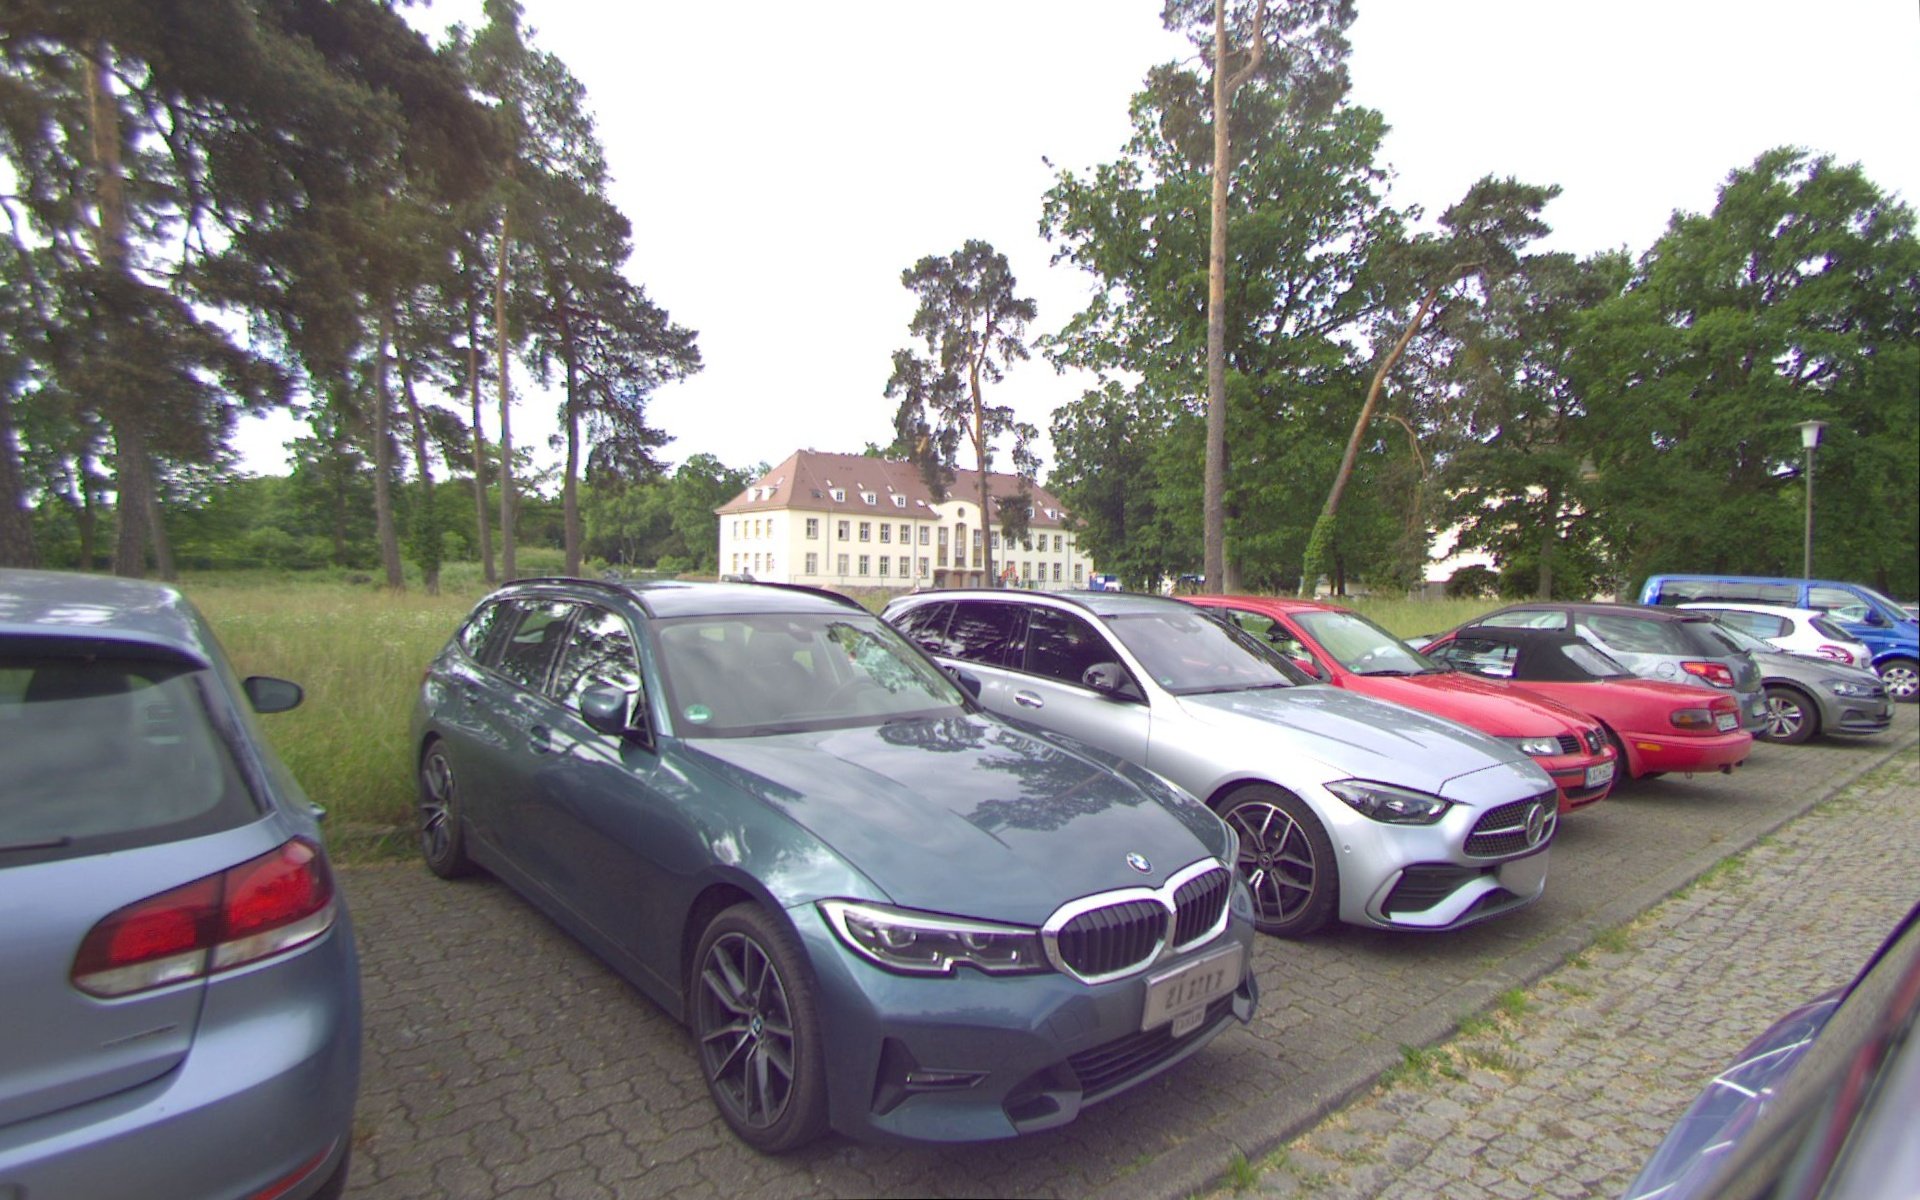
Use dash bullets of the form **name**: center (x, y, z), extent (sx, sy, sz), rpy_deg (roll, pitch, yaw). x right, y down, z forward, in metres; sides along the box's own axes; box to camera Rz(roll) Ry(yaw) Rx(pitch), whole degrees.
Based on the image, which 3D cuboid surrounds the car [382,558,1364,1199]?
- **car**: center (-0.936, 0.612, 4.453), extent (1.839, 1.434, 4.689), rpy_deg (0, 3, -42)

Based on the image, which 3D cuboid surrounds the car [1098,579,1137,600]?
- **car**: center (15.970, -1.071, 102.637), extent (3.935, 2.039, 1.995), rpy_deg (0, 1, -45)

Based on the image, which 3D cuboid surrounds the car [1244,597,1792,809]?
- **car**: center (4.695, 0.706, 8.958), extent (1.727, 1.251, 3.870), rpy_deg (0, 3, -41)

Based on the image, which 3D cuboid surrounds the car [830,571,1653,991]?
- **car**: center (1.268, 0.636, 6.060), extent (1.839, 1.434, 4.429), rpy_deg (0, 3, -42)

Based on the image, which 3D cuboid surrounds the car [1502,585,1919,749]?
- **car**: center (8.974, 0.659, 12.238), extent (1.727, 1.490, 3.872), rpy_deg (0, 3, -40)

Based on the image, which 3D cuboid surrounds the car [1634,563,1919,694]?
- **car**: center (14.984, 0.421, 17.800), extent (1.968, 1.969, 4.818), rpy_deg (0, 3, -41)

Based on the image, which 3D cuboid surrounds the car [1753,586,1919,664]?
- **car**: center (21.413, 0.578, 23.644), extent (1.790, 1.618, 4.269), rpy_deg (0, 2, -41)

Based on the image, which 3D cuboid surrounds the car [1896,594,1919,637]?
- **car**: center (36.825, 0.635, 36.631), extent (1.555, 1.557, 4.148), rpy_deg (0, 2, -41)

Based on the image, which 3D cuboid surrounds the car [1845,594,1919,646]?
- **car**: center (29.108, 0.647, 30.178), extent (1.555, 1.478, 3.892), rpy_deg (0, 2, -41)

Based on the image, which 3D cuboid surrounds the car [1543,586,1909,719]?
- **car**: center (10.866, 0.634, 14.597), extent (1.726, 1.490, 3.873), rpy_deg (0, 3, -39)

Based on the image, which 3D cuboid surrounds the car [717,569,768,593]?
- **car**: center (-22.586, -1.981, 104.822), extent (5.850, 2.269, 2.281), rpy_deg (4, 2, 43)

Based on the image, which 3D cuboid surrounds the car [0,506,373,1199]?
- **car**: center (-2.977, 0.492, 2.985), extent (1.612, 1.495, 3.938), rpy_deg (1, 3, -38)

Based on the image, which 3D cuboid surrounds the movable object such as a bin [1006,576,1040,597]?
- **movable object such as a bin**: center (6.554, -1.395, 105.194), extent (3.180, 2.039, 1.682), rpy_deg (0, 1, -33)

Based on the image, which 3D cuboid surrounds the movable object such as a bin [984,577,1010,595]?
- **movable object such as a bin**: center (4.463, -1.671, 121.514), extent (1.526, 2.039, 2.982), rpy_deg (0, 1, -39)

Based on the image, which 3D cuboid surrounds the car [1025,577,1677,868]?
- **car**: center (2.653, 0.635, 7.750), extent (1.838, 1.434, 4.272), rpy_deg (0, 3, -40)

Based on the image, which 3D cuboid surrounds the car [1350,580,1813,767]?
- **car**: center (6.466, 0.616, 10.868), extent (1.727, 1.490, 3.870), rpy_deg (0, 3, -41)
